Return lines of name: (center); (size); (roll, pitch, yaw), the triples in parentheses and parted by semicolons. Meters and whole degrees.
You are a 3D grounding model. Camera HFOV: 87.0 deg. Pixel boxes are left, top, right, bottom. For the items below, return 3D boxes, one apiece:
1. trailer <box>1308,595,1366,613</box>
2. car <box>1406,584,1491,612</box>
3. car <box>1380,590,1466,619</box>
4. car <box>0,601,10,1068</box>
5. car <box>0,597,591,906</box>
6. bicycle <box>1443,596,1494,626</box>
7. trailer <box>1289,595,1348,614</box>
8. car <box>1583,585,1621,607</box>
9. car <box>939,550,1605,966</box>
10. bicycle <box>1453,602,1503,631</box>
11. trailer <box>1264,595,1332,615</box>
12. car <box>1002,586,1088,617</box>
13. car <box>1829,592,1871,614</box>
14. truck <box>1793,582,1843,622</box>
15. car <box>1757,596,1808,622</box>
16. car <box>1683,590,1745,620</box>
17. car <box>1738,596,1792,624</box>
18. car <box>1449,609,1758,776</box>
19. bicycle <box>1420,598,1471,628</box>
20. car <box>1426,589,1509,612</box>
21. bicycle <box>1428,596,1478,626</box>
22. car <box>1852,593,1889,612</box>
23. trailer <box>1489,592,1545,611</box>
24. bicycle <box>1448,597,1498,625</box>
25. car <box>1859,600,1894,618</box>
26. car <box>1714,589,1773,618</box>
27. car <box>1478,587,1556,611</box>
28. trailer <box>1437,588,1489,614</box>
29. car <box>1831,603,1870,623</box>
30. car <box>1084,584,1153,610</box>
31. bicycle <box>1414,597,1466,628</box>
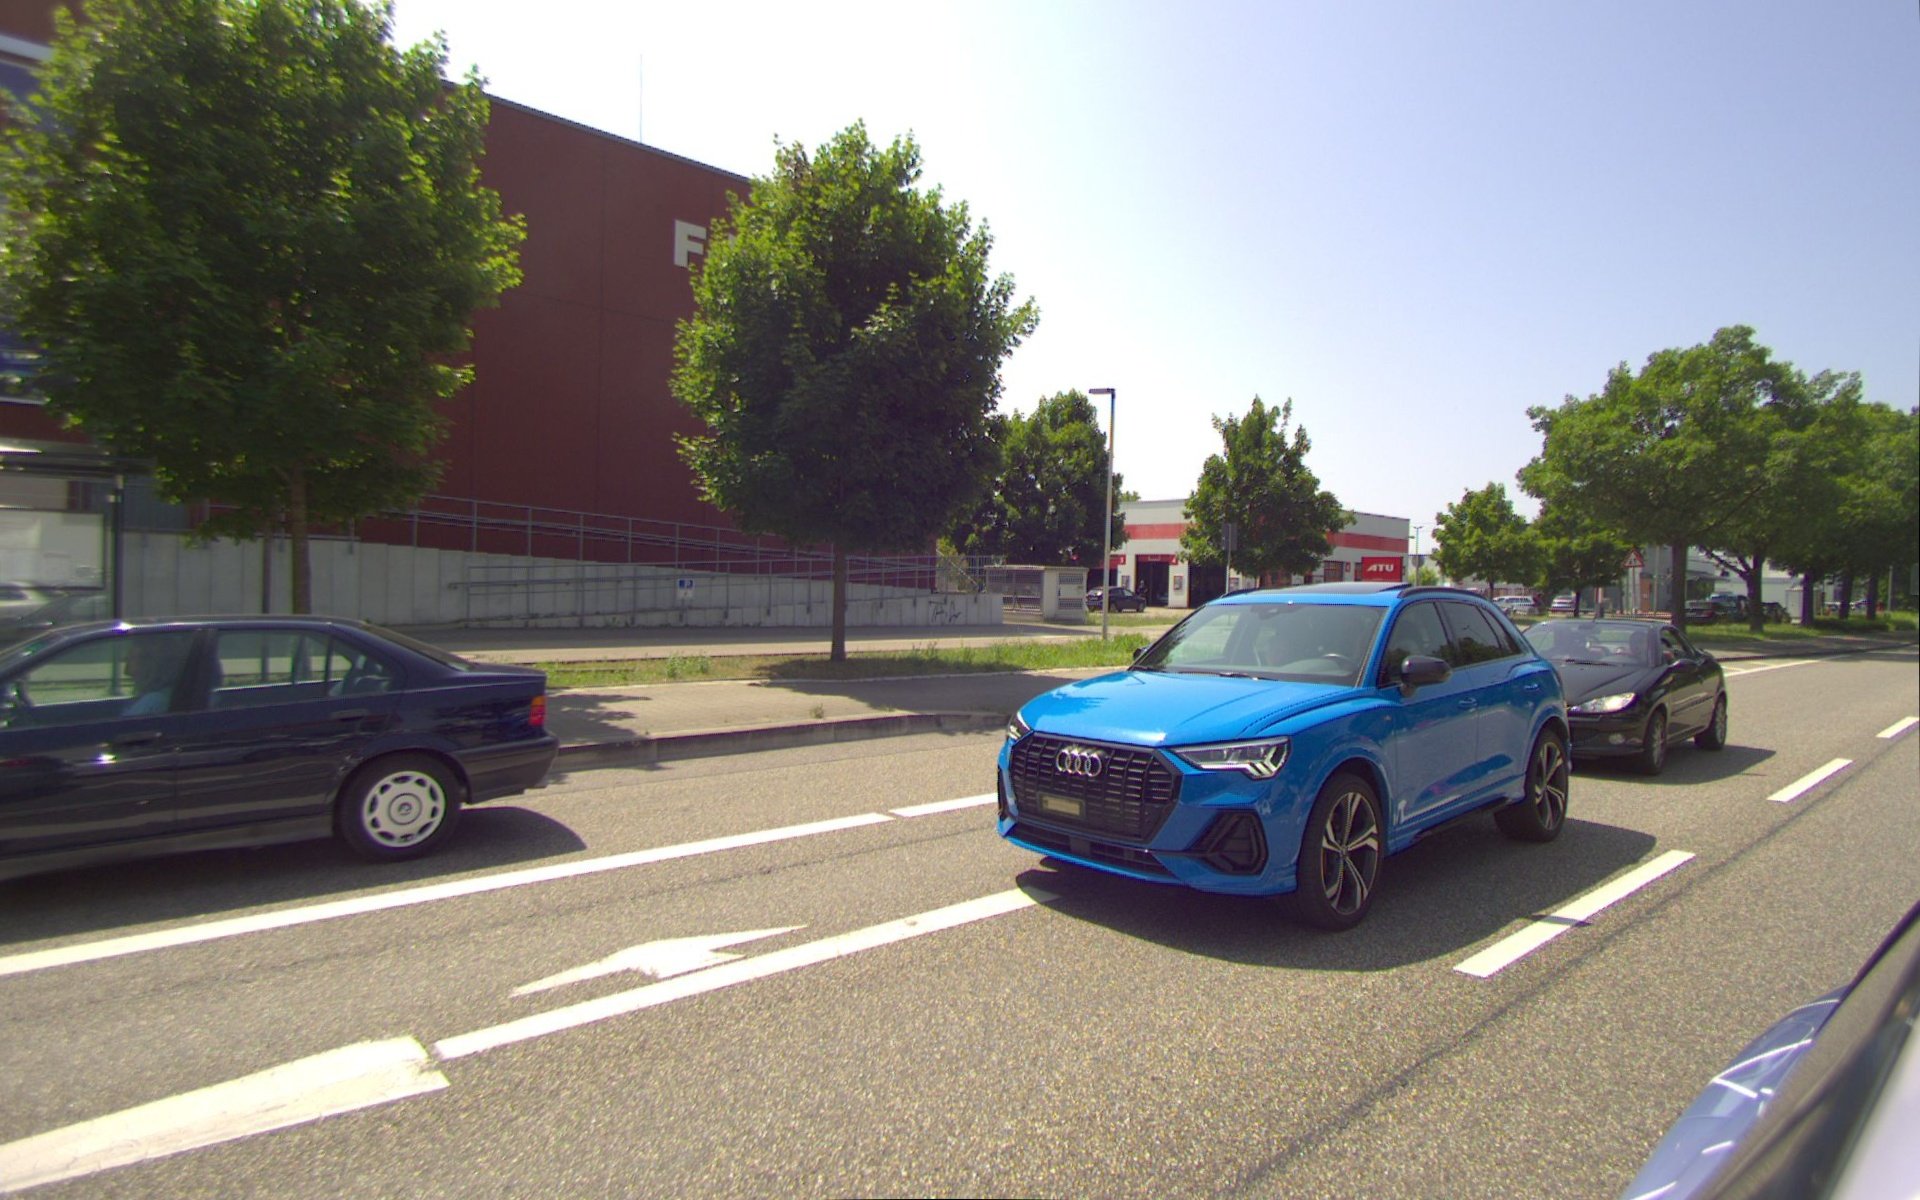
trailer: (17.403, 0.172, 46.732); (1.368, 0.771, 2.137); (1, 1, -39)
car: (27.755, -0.120, 57.562); (1.718, 1.419, 3.991); (1, 1, -43)
car: (25.752, 0.236, 56.331); (1.718, 1.419, 3.992); (1, 1, -43)
car: (-4.003, 0.691, 1.283); (4.022, 1.379, 1.714); (0, 0, -42)
car: (-4.365, 0.689, 5.590); (4.071, 1.388, 1.641); (1, -1, -40)
bicycle: (21.039, 0.445, 41.907); (1.779, 1.138, 0.506); (2, 1, 43)
trailer: (16.108, 0.193, 45.511); (1.244, 0.771, 2.137); (1, 1, -39)
car: (48.407, -0.286, 76.263); (1.753, 1.616, 3.939); (2, 1, 42)
car: (2.112, 0.601, 6.058); (4.324, 1.616, 1.840); (0, 1, -42)
bicycle: (21.962, 0.672, 42.917); (1.779, 1.138, 0.506); (2, 1, 43)
trailer: (14.785, 0.214, 44.325); (1.423, 0.771, 2.467); (1, 1, -39)
car: (3.895, 0.060, 46.139); (3.904, 1.329, 1.651); (0, 2, -42)
car: (63.977, 0.217, 72.770); (3.929, 1.485, 1.719); (1, 1, -41)
truck: (58.968, 0.137, 69.517); (3.928, 2.599, 1.904); (1, 1, -40)
car: (50.315, 0.544, 61.891); (3.929, 1.532, 1.719); (1, 1, -41)
car: (37.628, 0.245, 50.495); (3.929, 1.388, 1.641); (1, 1, -41)
car: (45.934, 0.557, 57.727); (3.929, 1.539, 1.719); (1, 1, -41)
car: (6.605, 0.772, 10.221); (3.931, 1.361, 1.640); (1, -1, -42)
bicycle: (19.781, 0.531, 41.240); (1.779, 1.138, 0.506); (2, 1, 43)
car: (29.654, 0.017, 59.170); (1.718, 1.223, 3.991); (1, 1, -43)
bicycle: (20.315, 0.434, 41.725); (1.779, 1.138, 0.506); (2, 1, 43)
car: (74.153, 0.189, 82.435); (3.929, 1.485, 1.719); (1, 1, -41)
trailer: (33.939, 0.100, 61.717); (1.551, 1.065, 2.638); (1, 1, -43)
bicycle: (21.526, 0.452, 42.468); (1.779, 1.138, 0.506); (2, 1, 43)
car: (78.336, 0.779, 86.483); (3.929, 1.485, 1.719); (1, 1, -41)
car: (42.037, 0.181, 54.286); (3.929, 1.485, 1.719); (1, 1, -41)
car: (35.038, -0.075, 63.693); (1.661, 1.317, 3.991); (1, 1, -43)
trailer: (31.772, 0.065, 63.958); (1.391, 1.546, 2.638); (1, 1, -43)
car: (68.293, 0.986, 77.602); (3.929, 1.485, 1.719); (1, 1, -41)
car: (9.147, -0.152, 58.177); (4.073, 1.390, 1.716); (0, 2, -42)
bicycle: (19.349, 0.493, 40.818); (1.779, 1.138, 0.506); (2, 1, 43)
